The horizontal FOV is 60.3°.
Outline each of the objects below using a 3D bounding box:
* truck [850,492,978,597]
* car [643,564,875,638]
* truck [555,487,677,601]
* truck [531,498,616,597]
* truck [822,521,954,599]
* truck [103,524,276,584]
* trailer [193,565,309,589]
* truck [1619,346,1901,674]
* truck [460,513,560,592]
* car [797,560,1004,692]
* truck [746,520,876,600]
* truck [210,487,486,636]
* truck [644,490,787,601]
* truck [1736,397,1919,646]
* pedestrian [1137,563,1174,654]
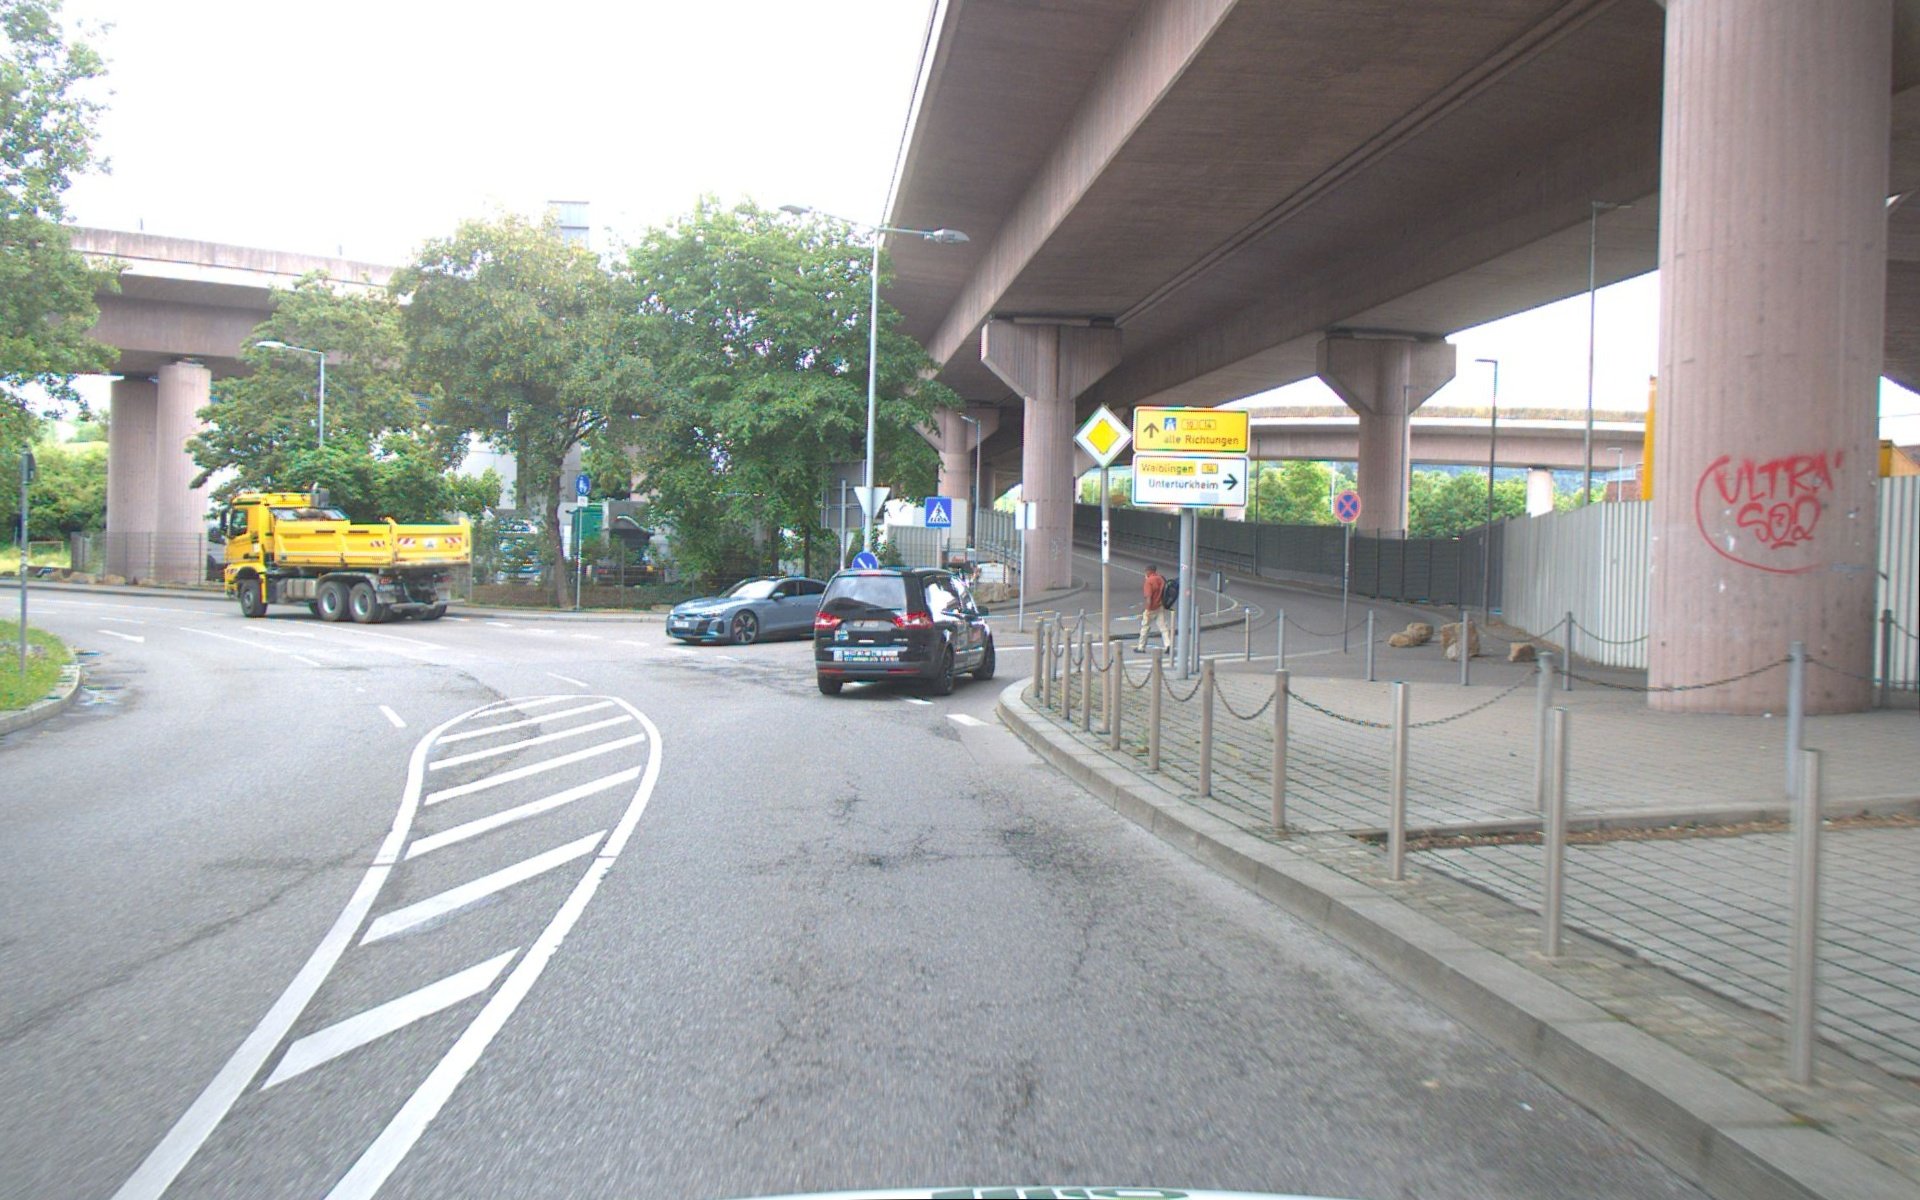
[{"bbox_3d":[-2.164,-2.529,73.725,3.024,4.374,7.994,0,3,-23],"label":"truck"},{"bbox_3d":[-4.341,-0.019,36.363,2.135,1.528,4.903,1,1,42],"label":"car"},{"bbox_3d":[-13.097,-2.095,62.531,3.027,4.032,6.869,0,2,-25],"label":"truck"},{"bbox_3d":[-20.174,-2.794,86.026,3.159,4.862,7.996,0,3,-22],"label":"truck"},{"bbox_3d":[-2.967,-1.693,66.452,2.881,2.949,6.502,-1,3,-27],"label":"truck"},{"bbox_3d":[-34.728,-2.082,74.593,7.055,2.596,2.726,1,1,17],"label":"truck"},{"bbox_3d":[-29.213,-0.965,68.032,6.187,0.756,2.142,3,5,44],"label":"trailer"},{"bbox_3d":[14.556,-1.394,29.634,3.085,5.003,8.685,1,1,35],"label":"truck"},{"bbox_3d":[-22.408,-2.410,82.054,3.022,3.681,7.841,0,3,-29],"label":"truck"},{"bbox_3d":[-0.734,0.306,23.868,1.951,1.708,4.565,0,1,12],"label":"car"},{"bbox_3d":[-5.904,-1.650,64.724,2.881,2.949,6.502,-1,3,-27],"label":"truck"},{"bbox_3d":[-17.036,-1.206,45.816,8.074,3.540,2.929,5,5,33],"label":"truck"},{"bbox_3d":[-9.393,-2.112,62.747,3.030,3.934,7.979,-1,3,-27],"label":"truck"},{"bbox_3d":[20.173,-1.600,37.539,3.085,4.989,8.685,1,1,35],"label":"truck"},{"bbox_3d":[3.730,0.158,31.603,0.528,1.705,0.555,-1,2,-18],"label":"pedestrian"}]
